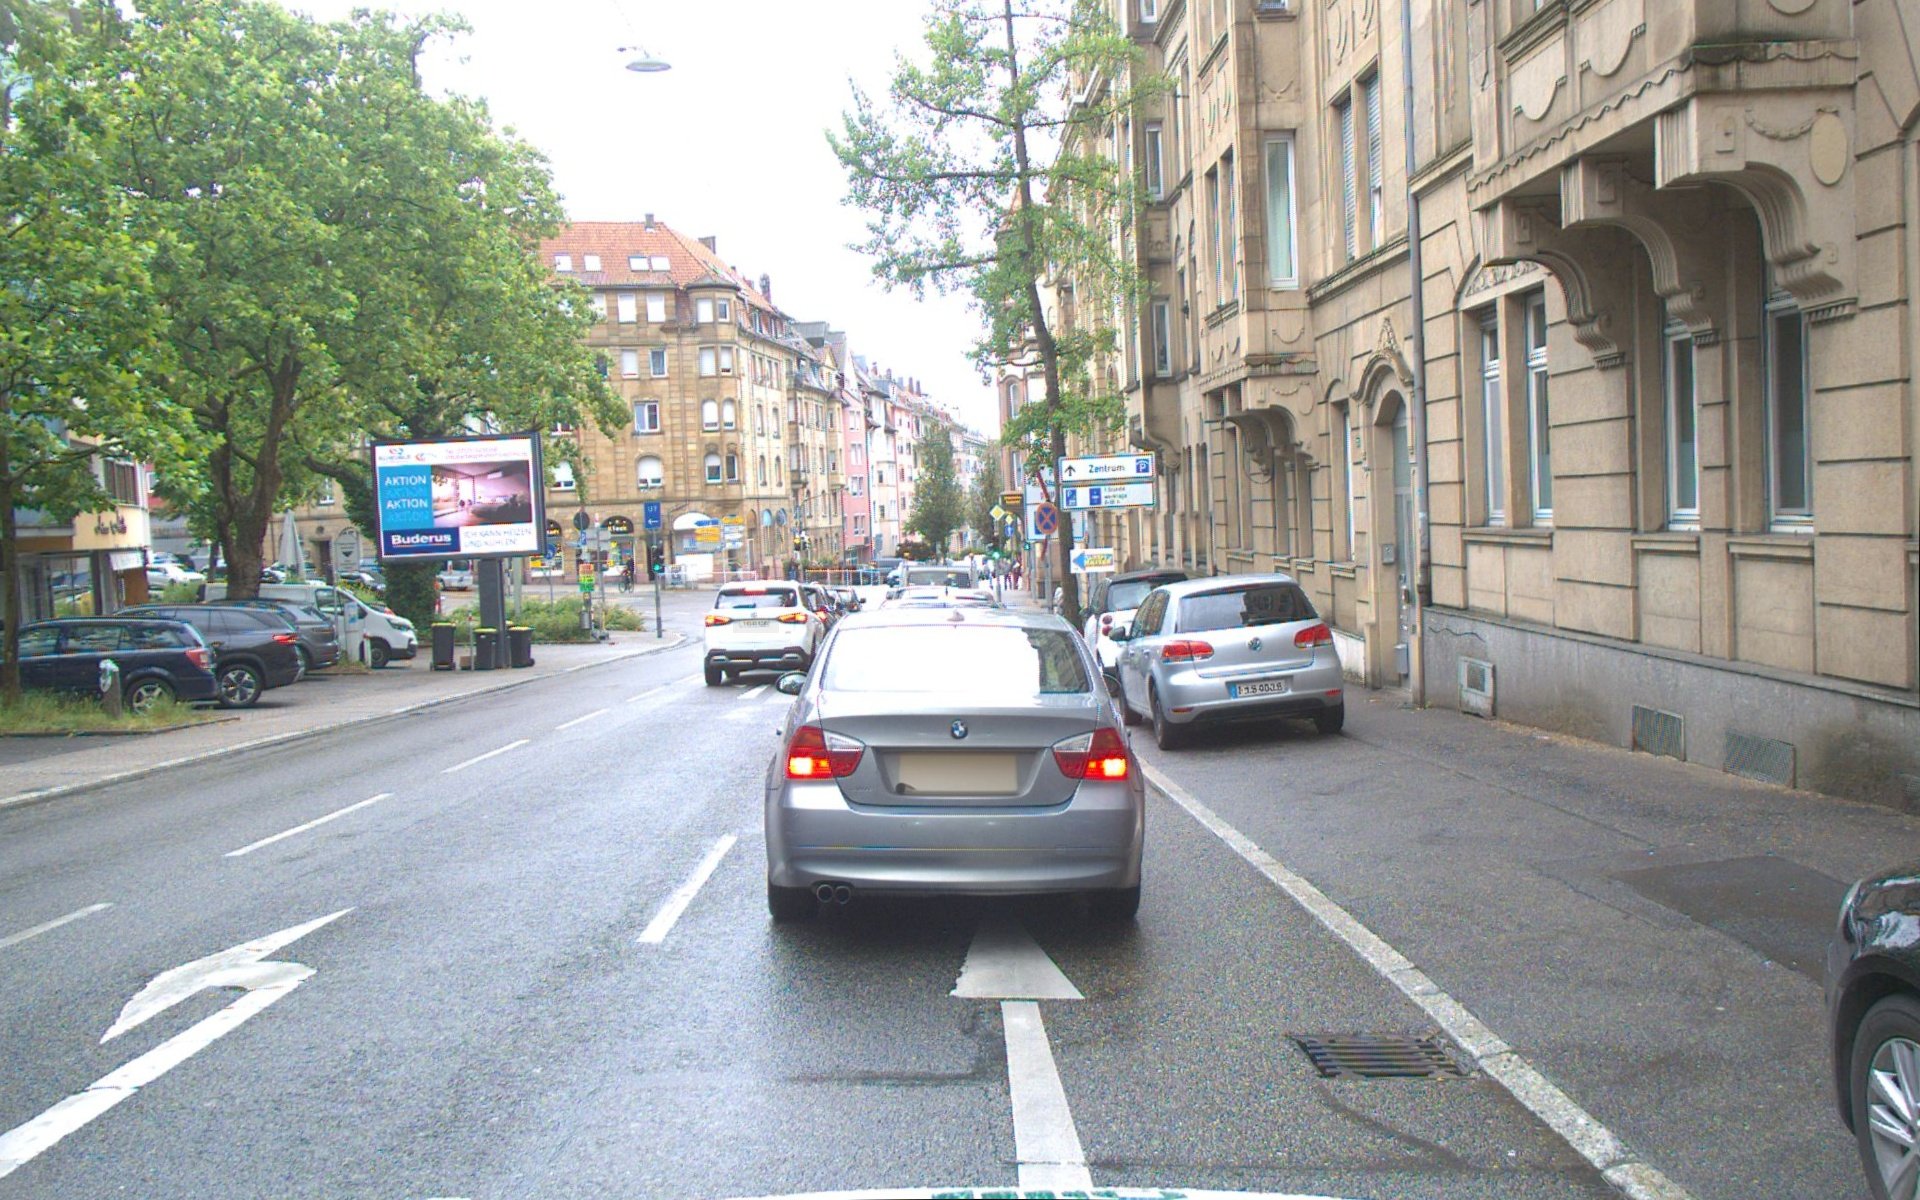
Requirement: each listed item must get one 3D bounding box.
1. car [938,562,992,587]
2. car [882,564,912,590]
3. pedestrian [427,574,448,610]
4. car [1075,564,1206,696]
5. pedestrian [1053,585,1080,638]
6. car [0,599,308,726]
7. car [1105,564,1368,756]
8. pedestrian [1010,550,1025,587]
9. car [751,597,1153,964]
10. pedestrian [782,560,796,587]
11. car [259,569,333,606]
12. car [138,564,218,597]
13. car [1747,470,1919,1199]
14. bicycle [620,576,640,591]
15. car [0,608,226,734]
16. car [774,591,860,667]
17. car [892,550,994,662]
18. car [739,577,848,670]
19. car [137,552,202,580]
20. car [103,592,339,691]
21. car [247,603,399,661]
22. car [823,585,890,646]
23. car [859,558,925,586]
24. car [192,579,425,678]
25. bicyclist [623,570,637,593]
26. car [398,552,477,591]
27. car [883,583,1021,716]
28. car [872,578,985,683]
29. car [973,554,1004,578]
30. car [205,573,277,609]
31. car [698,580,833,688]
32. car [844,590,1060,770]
[{"bbox_3d":[0.390,-1.748,114.168,1.957,1.606,3.991,1,0,31],"label":"car"},{"bbox_3d":[-3.781,-1.372,99.247,1.680,1.476,3.741,-2,0,-1],"label":"car"},{"bbox_3d":[-24.149,-0.392,76.438,0.525,1.604,0.720,-4,1,10],"label":"pedestrian"},{"bbox_3d":[2.423,0.371,22.727,1.273,1.569,2.975,-6,1,-1],"label":"car"},{"bbox_3d":[3.217,0.331,50.115,0.618,1.534,0.693,-6,0,-2],"label":"pedestrian"},{"bbox_3d":[-12.883,0.952,26.656,4.308,1.701,1.842,-3,1,-24],"label":"car"},{"bbox_3d":[2.572,0.501,16.317,1.725,1.476,3.999,-6,1,-1],"label":"car"},{"bbox_3d":[3.123,-1.691,89.494,0.727,1.943,0.659,-2,0,-2],"label":"pedestrian"},{"bbox_3d":[-0.020,0.717,8.396,1.590,1.407,3.615,-1,1,0],"label":"car"},{"bbox_3d":[-10.442,-1.619,101.089,0.716,1.605,0.528,-1,0,8],"label":"pedestrian"},{"bbox_3d":[-40.985,-0.772,102.021,4.196,2.138,1.998,2,2,28],"label":"car"},{"bbox_3d":[-44.232,-1.113,93.575,4.155,1.756,1.998,0,3,29],"label":"car"},{"bbox_3d":[2.839,0.499,1.946,1.724,1.679,4.098,-6,1,0],"label":"car"},{"bbox_3d":[-18.796,-0.937,94.311,0.561,0.873,1.523,1,0,10],"label":"bicycle"},{"bbox_3d":[-13.023,1.022,23.924,4.299,1.601,1.929,-3,1,-24],"label":"car"},{"bbox_3d":[-3.484,0.664,40.902,1.723,1.737,4.000,-1,1,0],"label":"car"},{"bbox_3d":[-0.364,0.112,33.774,1.953,2.143,3.999,0,0,-1],"label":"car"},{"bbox_3d":[-3.273,0.415,33.144,1.723,1.737,4.000,-1,1,0],"label":"car"},{"bbox_3d":[-51.106,-2.201,106.893,3.909,1.718,1.726,1,0,27],"label":"car"},{"bbox_3d":[-15.108,0.813,34.069,4.295,1.815,1.927,-2,0,-22],"label":"car"},{"bbox_3d":[-17.926,0.868,46.655,3.916,1.476,1.757,-2,0,-22],"label":"car"},{"bbox_3d":[-3.097,0.442,50.072,1.723,1.737,4.000,-1,1,0],"label":"car"},{"bbox_3d":[-5.291,-2.183,129.579,5.072,2.049,2.698,1,0,-1],"label":"car"},{"bbox_3d":[-15.421,0.643,39.334,4.989,2.142,1.979,-2,0,-22],"label":"car"},{"bbox_3d":[-18.799,-1.042,94.303,0.556,1.295,0.690,1,-1,11],"label":"bicyclist"},{"bbox_3d":[-30.403,-1.679,96.232,4.196,2.138,1.998,2,2,28],"label":"car"},{"bbox_3d":[-0.075,0.544,20.850,1.562,1.490,4.000,0,1,0],"label":"car"},{"bbox_3d":[-0.478,0.442,27.454,1.723,1.594,4.000,-1,1,0],"label":"car"},{"bbox_3d":[2.110,-2.463,120.830,1.951,1.606,4.002,1,0,5],"label":"car"},{"bbox_3d":[-45.361,-0.576,104.380,4.196,2.138,1.998,2,2,28],"label":"car"},{"bbox_3d":[-3.170,0.502,27.647,1.830,1.654,3.999,-1,0,-1],"label":"car"},{"bbox_3d":[-0.053,0.634,15.331,1.723,1.407,4.000,-1,1,0],"label":"car"}]
